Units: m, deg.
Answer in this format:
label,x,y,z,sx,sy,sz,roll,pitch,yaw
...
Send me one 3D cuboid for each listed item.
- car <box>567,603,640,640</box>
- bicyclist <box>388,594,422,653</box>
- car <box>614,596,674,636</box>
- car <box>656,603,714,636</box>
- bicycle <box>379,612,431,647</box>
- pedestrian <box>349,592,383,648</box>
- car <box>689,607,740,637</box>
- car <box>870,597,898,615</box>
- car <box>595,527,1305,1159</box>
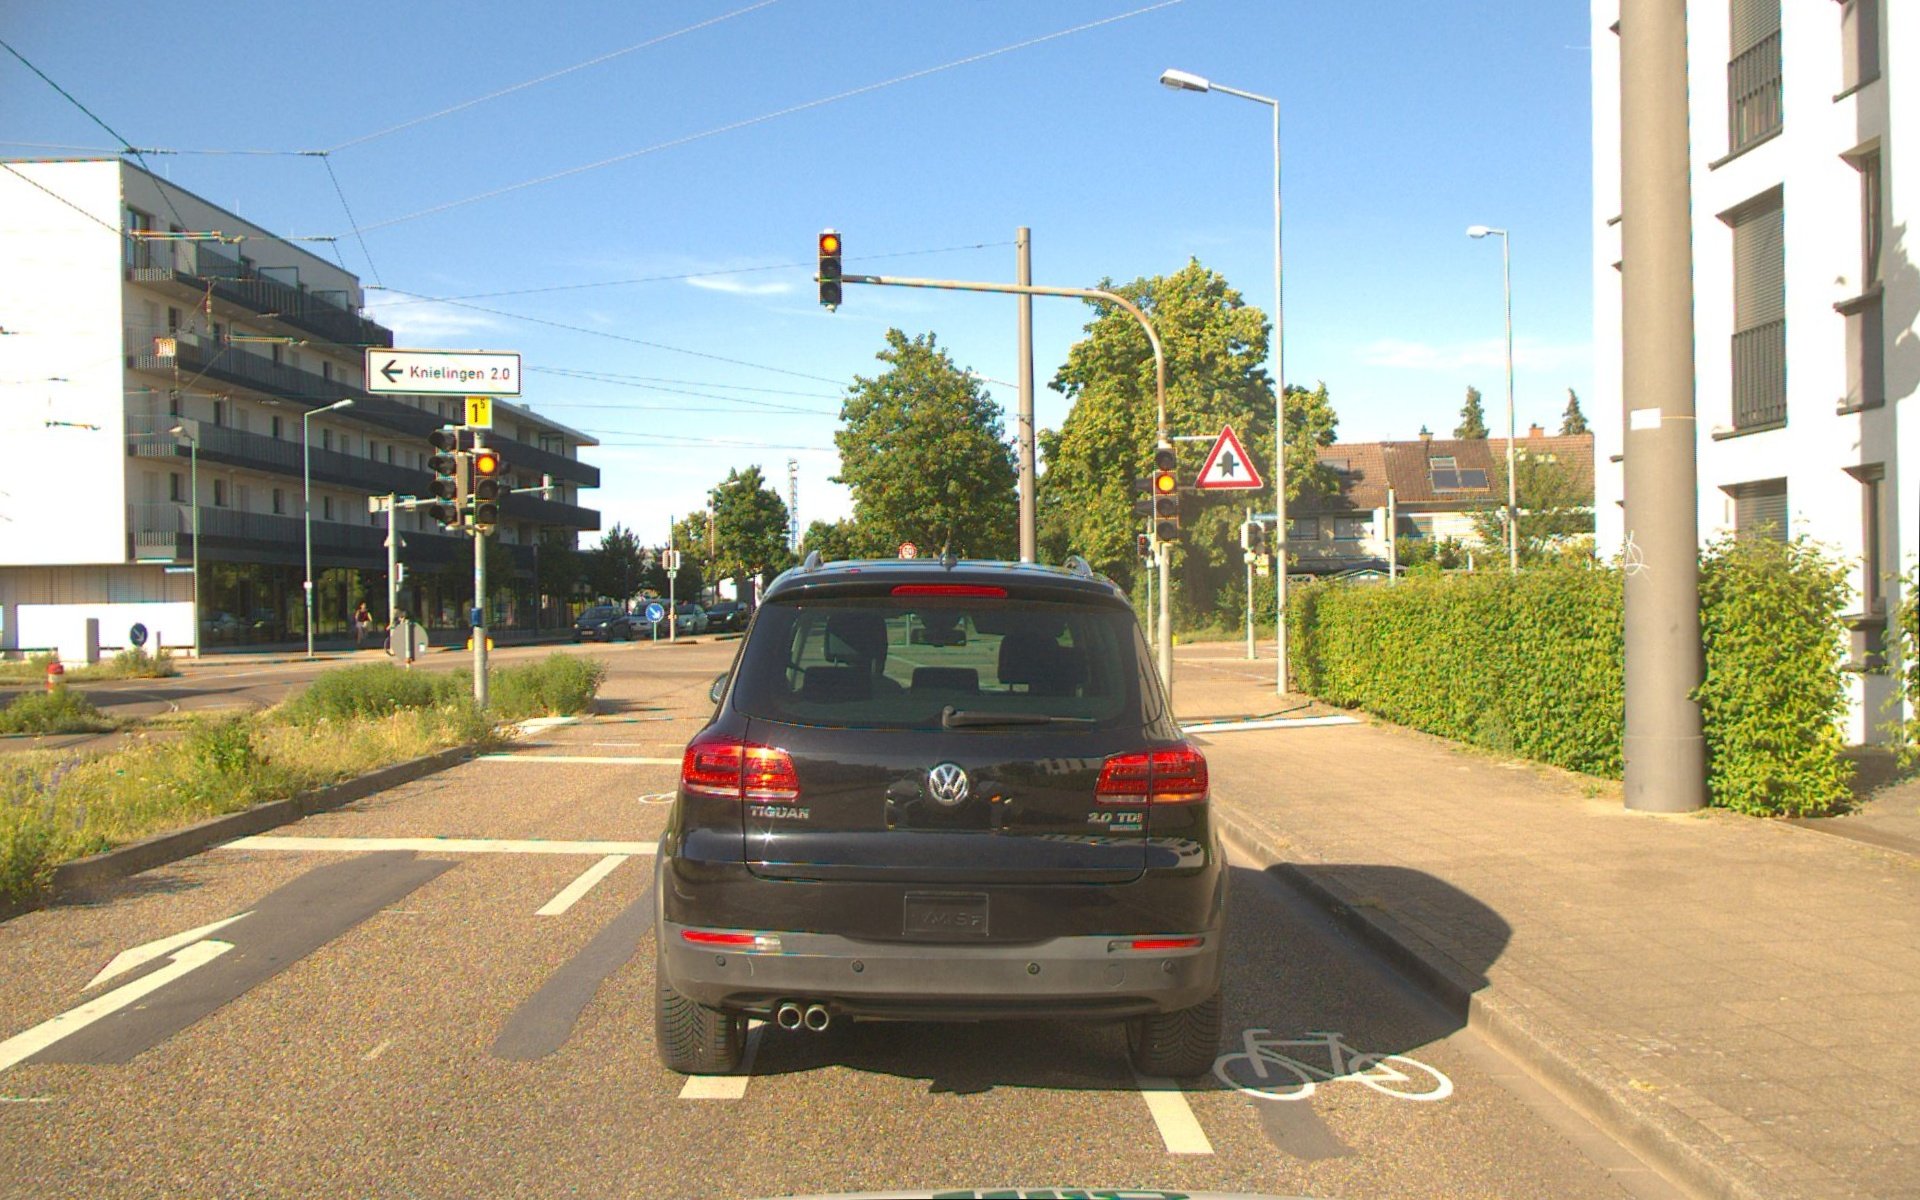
label,x,y,z,sx,sy,sz,roll,pitch,yaw
car,-15.257,0.890,70.945,1.659,1.482,4.456,-1,0,7
bicyclist,-19.683,0.842,58.659,0.795,2.049,0.792,-1,0,34
car,-14.857,0.728,77.946,1.953,1.786,4.361,-1,0,0
car,-13.881,0.974,83.564,1.951,1.513,3.546,-3,0,6
bicycle,-19.674,1.043,58.656,0.729,1.164,1.638,-1,0,34
pedestrian,-22.059,0.731,61.404,0.957,2.049,0.760,-1,0,-3
car,-13.398,1.185,90.504,1.926,1.561,4.741,-1,0,1
car,-7.055,0.569,153.817,1.951,1.599,4.003,-1,0,7
car,-0.096,0.670,6.738,1.890,1.683,4.512,1,0,-2
